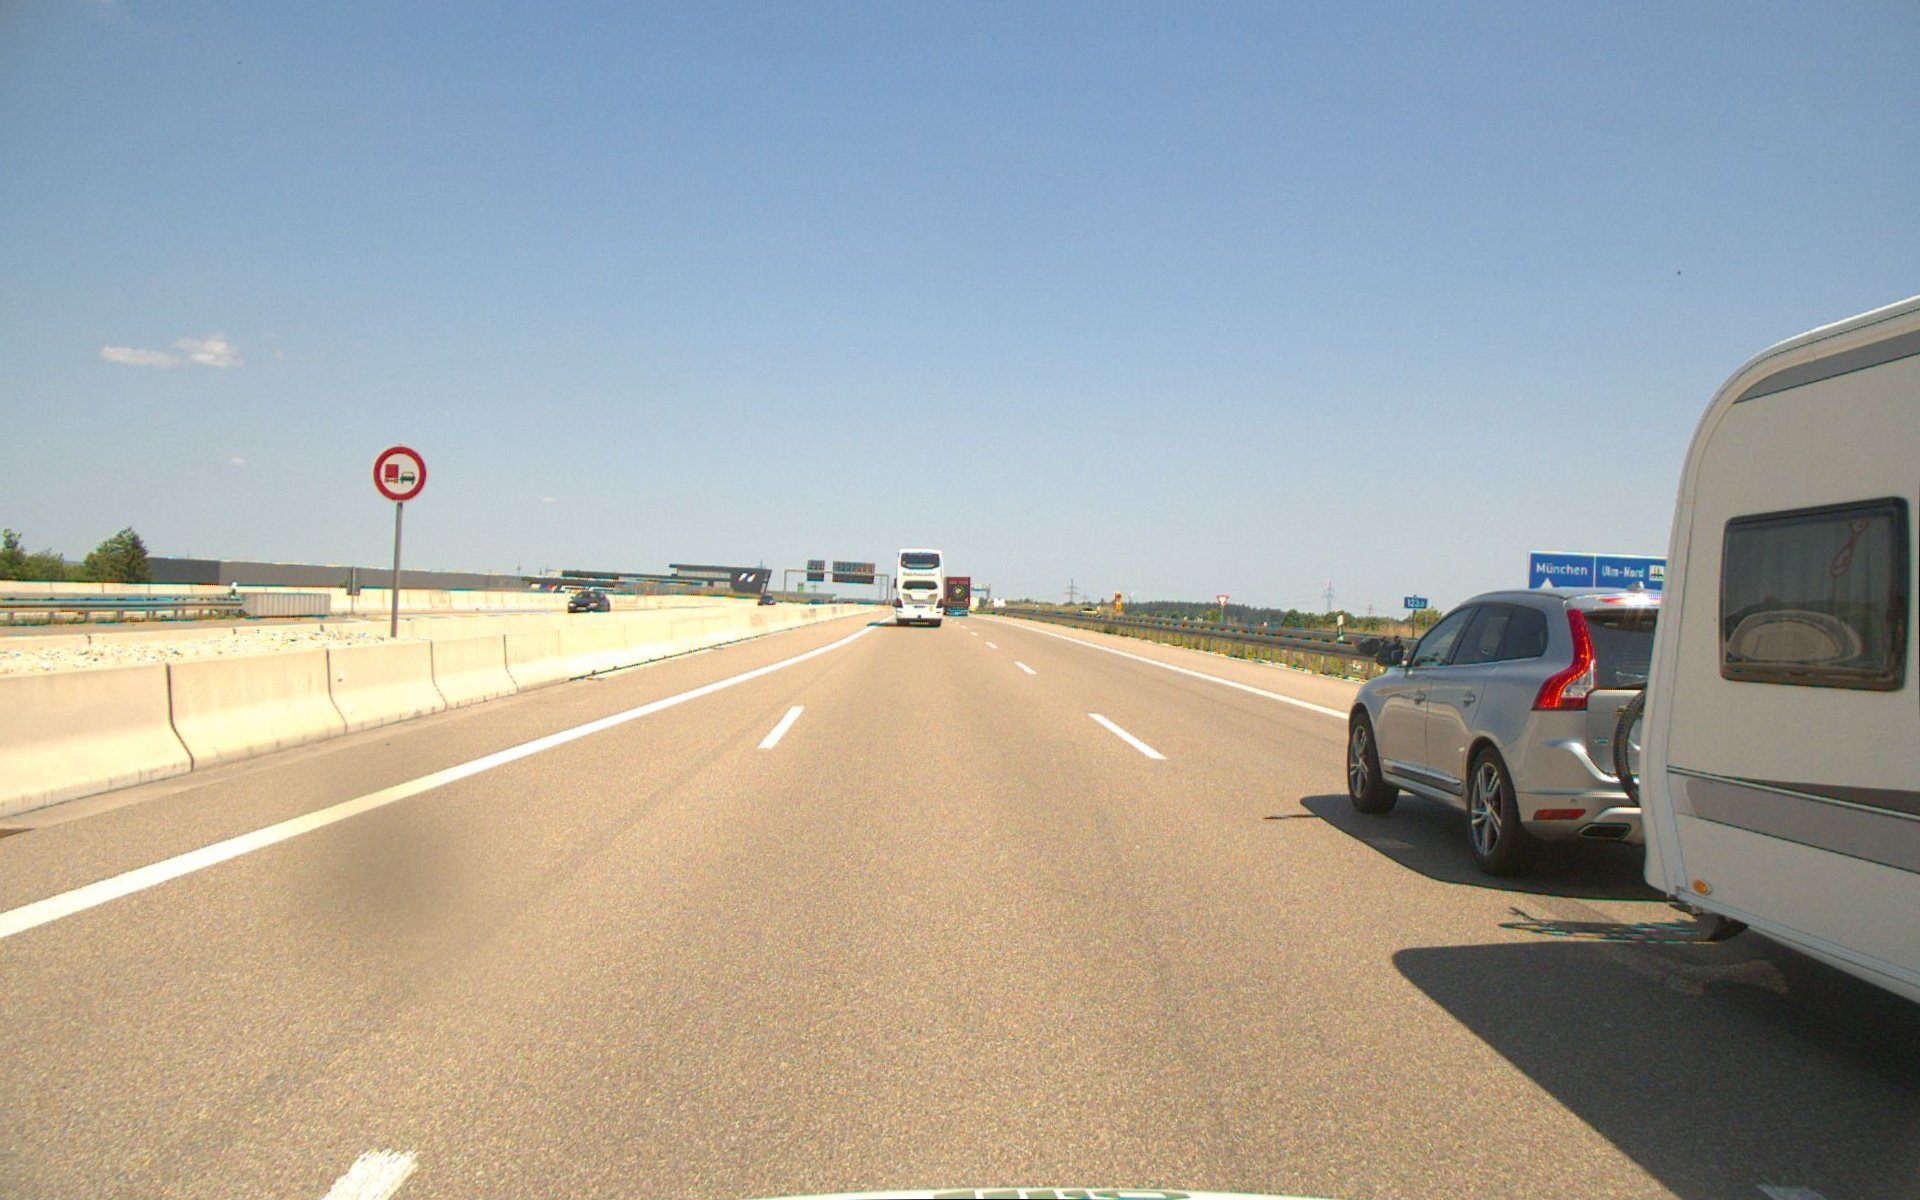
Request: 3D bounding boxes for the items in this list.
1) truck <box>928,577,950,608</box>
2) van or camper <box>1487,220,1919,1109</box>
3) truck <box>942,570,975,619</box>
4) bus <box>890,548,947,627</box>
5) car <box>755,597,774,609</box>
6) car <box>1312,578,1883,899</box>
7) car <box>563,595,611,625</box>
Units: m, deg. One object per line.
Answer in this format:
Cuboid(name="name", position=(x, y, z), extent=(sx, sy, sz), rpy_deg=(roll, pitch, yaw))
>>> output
Cuboid(name="truck", position=(-2.664, -0.915, 209.064), extent=(2.389, 3.855, 6.490), rpy_deg=(1, 0, -3))
Cuboid(name="van or camper", position=(4.088, 0.209, 4.734), extent=(2.461, 2.638, 7.815), rpy_deg=(1, 0, -1))
Cuboid(name="truck", position=(-0.174, -0.476, 178.382), extent=(3.310, 4.542, 13.563), rpy_deg=(2, -3, 0))
Cuboid(name="bus", position=(-2.348, -0.674, 91.182), extent=(2.920, 4.044, 9.100), rpy_deg=(1, 0, -2))
Cuboid(name="car", position=(-23.200, 0.342, 196.394), extent=(1.872, 1.445, 4.548), rpy_deg=(2, 0, -1))
Cuboid(name="car", position=(3.882, 0.723, 11.154), extent=(1.842, 1.651, 4.902), rpy_deg=(1, 0, -1))
Cuboid(name="car", position=(-20.864, 0.530, 92.628), extent=(1.697, 1.563, 4.547), rpy_deg=(1, 0, -1))
